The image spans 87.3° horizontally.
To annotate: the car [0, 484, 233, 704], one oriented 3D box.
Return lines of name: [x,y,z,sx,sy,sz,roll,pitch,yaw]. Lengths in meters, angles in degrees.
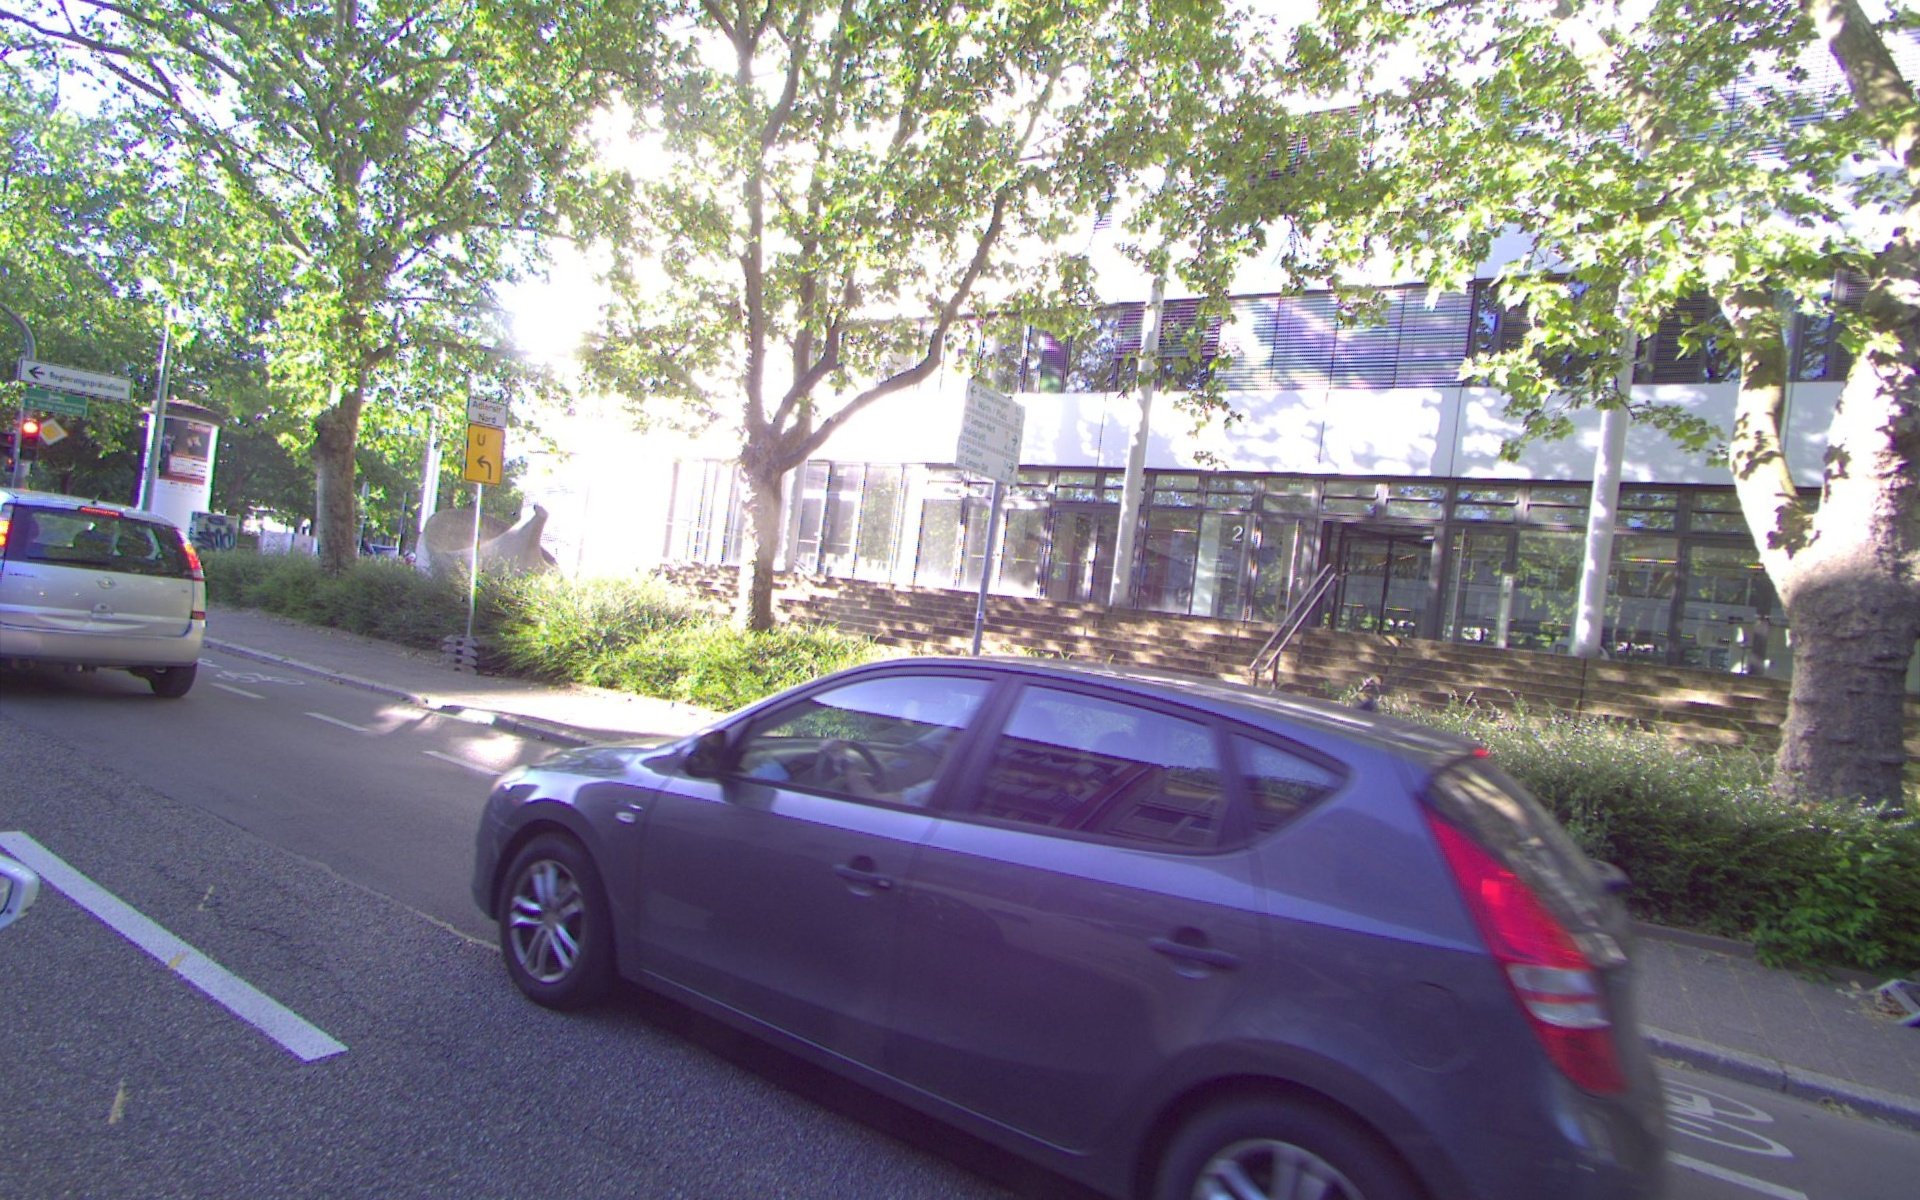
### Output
car: [-8.404,-0.165,9.033,3.797,1.622,1.703,7,-1,34]

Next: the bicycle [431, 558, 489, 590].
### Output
bicycle: [-20.563,-1.074,41.419,0.641,1.040,1.983,7,-1,32]

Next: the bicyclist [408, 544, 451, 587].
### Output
bicyclist: [-20.766,-1.357,39.391,0.700,1.508,1.118,7,-1,31]

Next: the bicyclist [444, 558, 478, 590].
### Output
bicyclist: [-20.542,-1.073,41.435,0.610,1.168,0.992,7,-1,34]

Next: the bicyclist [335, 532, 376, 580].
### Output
bicyclist: [-23.032,-1.657,38.319,0.597,1.662,1.017,7,-1,26]

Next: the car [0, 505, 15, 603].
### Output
car: [-14.017,-0.728,12.615,4.592,1.481,1.917,7,-3,32]

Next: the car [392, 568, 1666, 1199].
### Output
car: [-0.035,0.888,3.570,3.910,1.499,1.647,7,-1,32]
